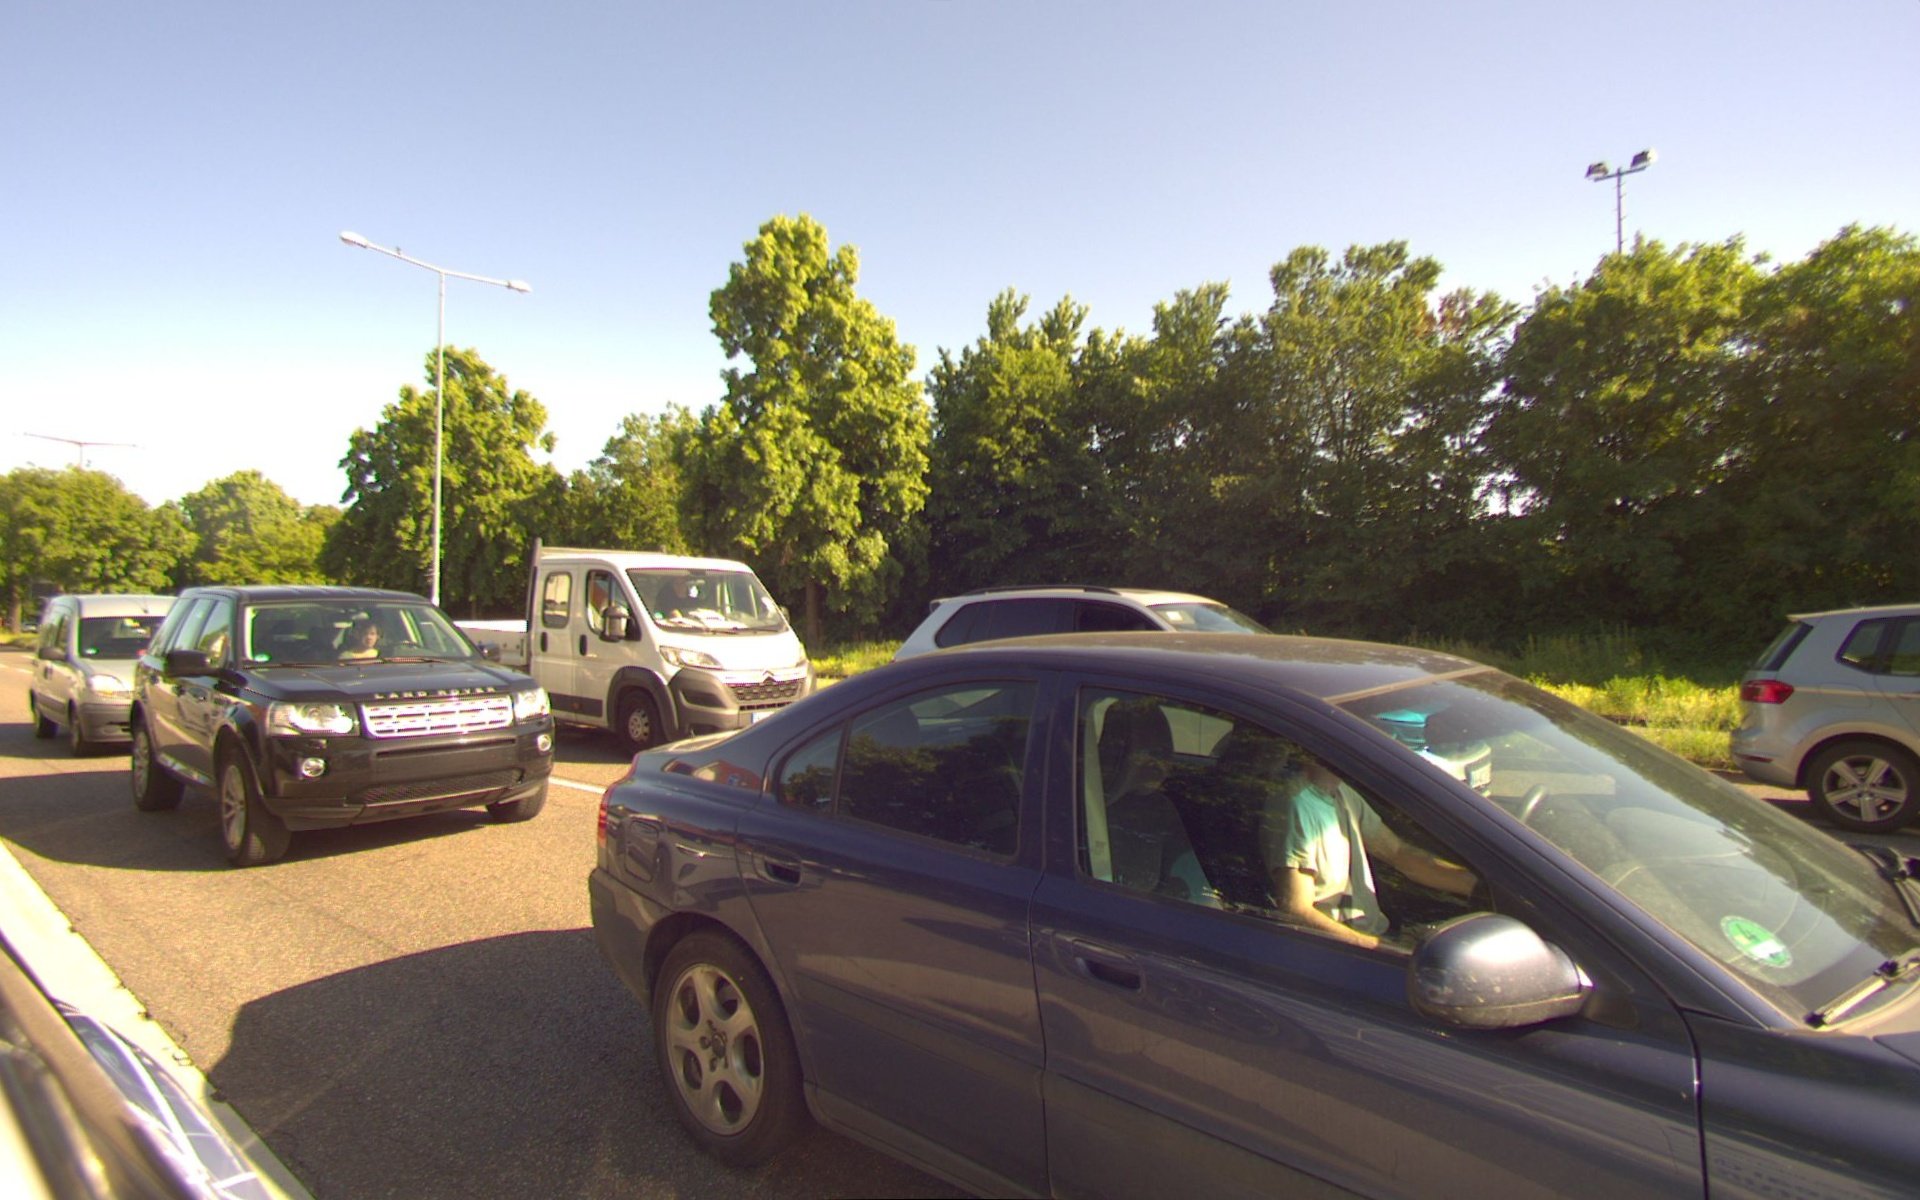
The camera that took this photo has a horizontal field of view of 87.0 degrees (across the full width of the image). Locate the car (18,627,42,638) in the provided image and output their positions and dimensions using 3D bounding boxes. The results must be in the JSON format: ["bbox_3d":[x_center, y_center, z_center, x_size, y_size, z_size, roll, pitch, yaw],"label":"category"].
[{"bbox_3d":[-117.108,4.108,127.434,3.998,1.428,1.769,-2,-3,41],"label":"car"}]

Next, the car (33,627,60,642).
[{"bbox_3d":[-103.580,3.935,114.769,3.998,1.697,1.769,-2,-3,41],"label":"car"}]

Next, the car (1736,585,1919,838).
[{"bbox_3d":[7.646,0.717,6.404,4.206,1.623,1.810,-2,-3,42],"label":"car"}]

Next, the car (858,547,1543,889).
[{"bbox_3d":[1.498,0.670,7.329,4.422,1.723,1.973,-2,-3,41],"label":"car"}]

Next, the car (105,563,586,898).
[{"bbox_3d":[-4.680,0.701,7.410,4.384,1.744,1.793,-1,-1,41],"label":"car"}]

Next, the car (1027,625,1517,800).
[{"bbox_3d":[3.046,1.004,10.538,4.550,1.440,1.811,-2,-3,41],"label":"car"}]

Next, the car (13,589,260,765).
[{"bbox_3d":[-10.037,0.796,12.212,4.384,1.765,1.611,-1,-1,41],"label":"car"}]

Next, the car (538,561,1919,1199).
[{"bbox_3d":[0.906,0.691,2.415,4.454,1.463,1.757,-1,0,41],"label":"car"}]

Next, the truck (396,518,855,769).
[{"bbox_3d":[-4.443,0.437,12.485,6.838,2.337,2.158,-1,-1,40],"label":"truck"}]

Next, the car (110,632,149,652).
[{"bbox_3d":[-69.803,3.511,85.048,3.998,1.697,1.854,-2,-3,41],"label":"car"}]
